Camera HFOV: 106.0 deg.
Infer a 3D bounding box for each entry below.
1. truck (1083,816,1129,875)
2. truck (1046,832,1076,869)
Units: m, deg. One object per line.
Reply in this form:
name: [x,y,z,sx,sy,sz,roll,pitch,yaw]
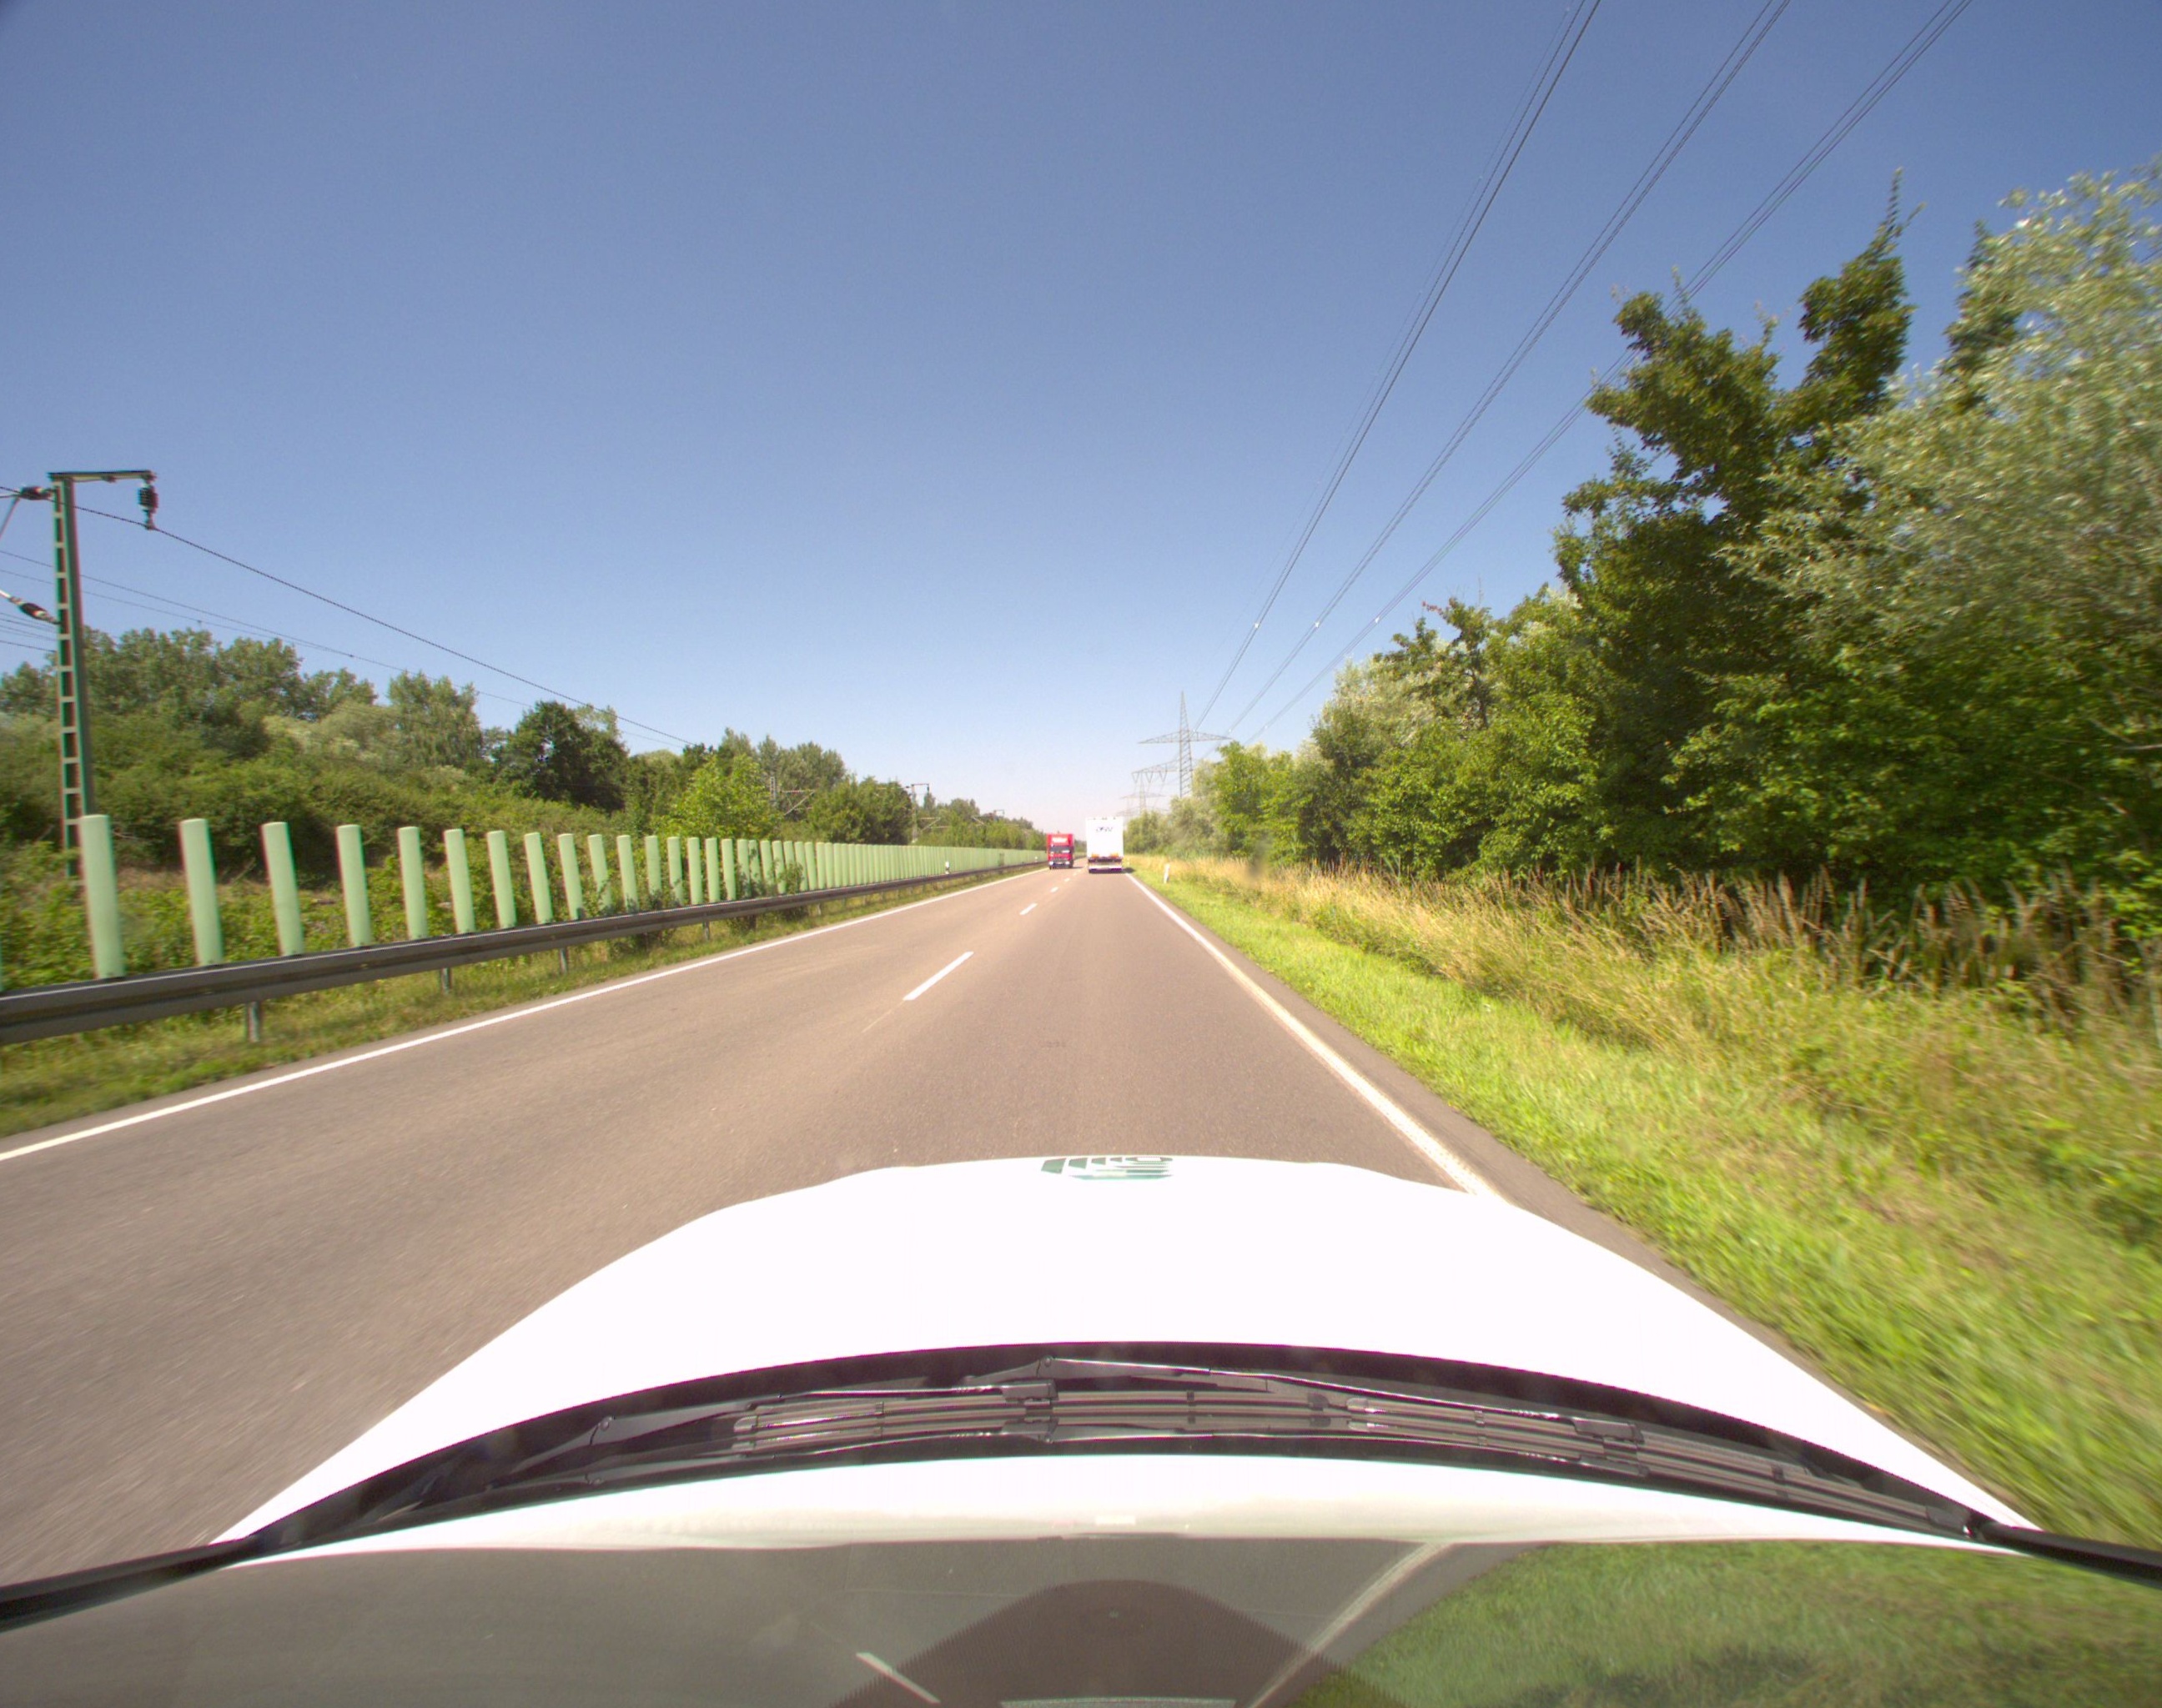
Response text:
truck: [1.869,-0.600,63.505,3.181,4.042,12.009,-2,0,1]
truck: [-2.023,-0.392,85.528,2.725,3.599,9.525,-1,0,0]
